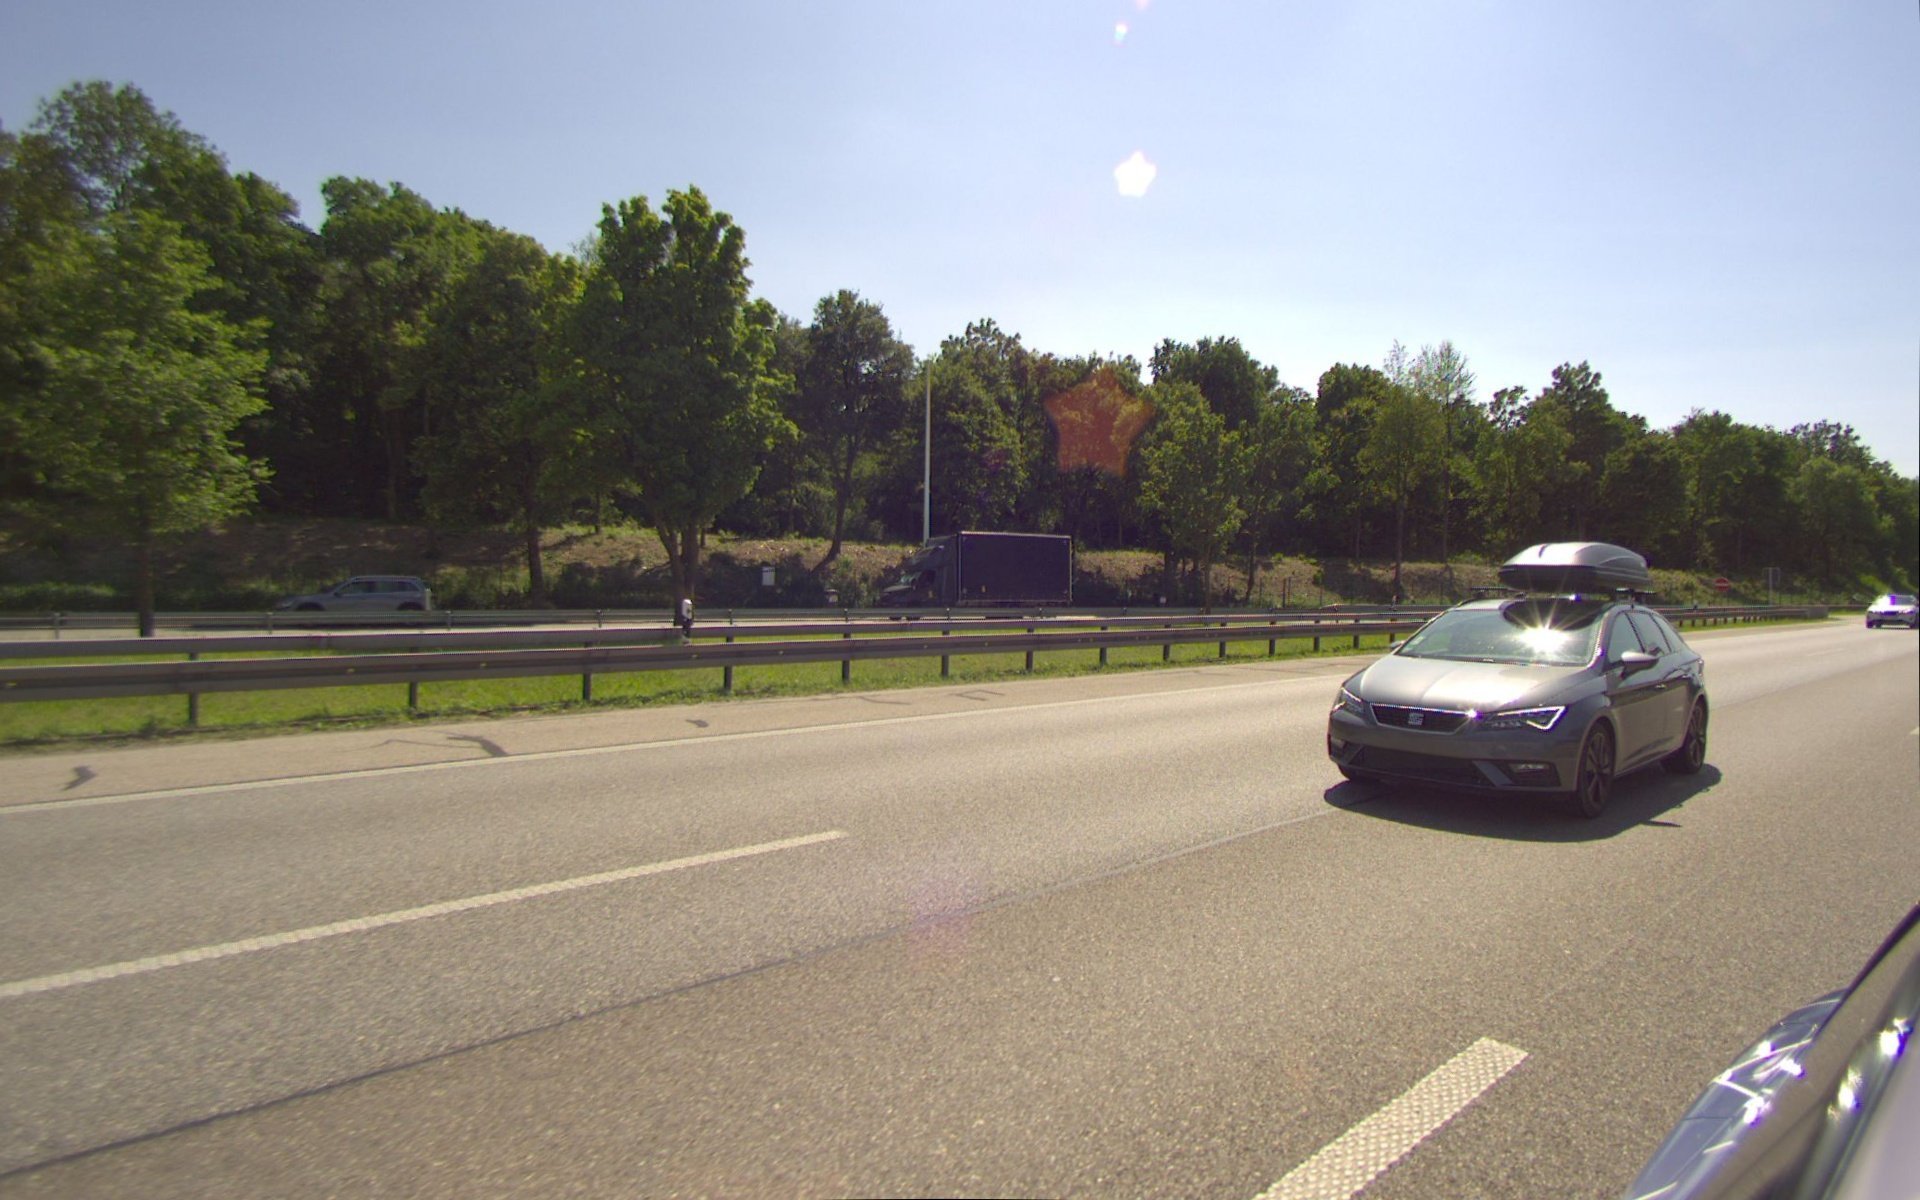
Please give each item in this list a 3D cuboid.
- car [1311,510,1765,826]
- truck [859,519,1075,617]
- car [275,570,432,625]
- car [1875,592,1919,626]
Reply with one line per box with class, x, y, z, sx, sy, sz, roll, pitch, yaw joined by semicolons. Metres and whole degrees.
car;4.920;0.377;8.262;4.742;1.899;1.669;0;2;-41
truck;0.407;-1.327;45.195;9.162;3.996;3.301;1;1;-30
car;-19.648;-0.078;32.922;4.233;1.671;2.002;1;2;-32
car;46.260;0.413;49.367;3.963;1.588;1.847;0;0;-40
